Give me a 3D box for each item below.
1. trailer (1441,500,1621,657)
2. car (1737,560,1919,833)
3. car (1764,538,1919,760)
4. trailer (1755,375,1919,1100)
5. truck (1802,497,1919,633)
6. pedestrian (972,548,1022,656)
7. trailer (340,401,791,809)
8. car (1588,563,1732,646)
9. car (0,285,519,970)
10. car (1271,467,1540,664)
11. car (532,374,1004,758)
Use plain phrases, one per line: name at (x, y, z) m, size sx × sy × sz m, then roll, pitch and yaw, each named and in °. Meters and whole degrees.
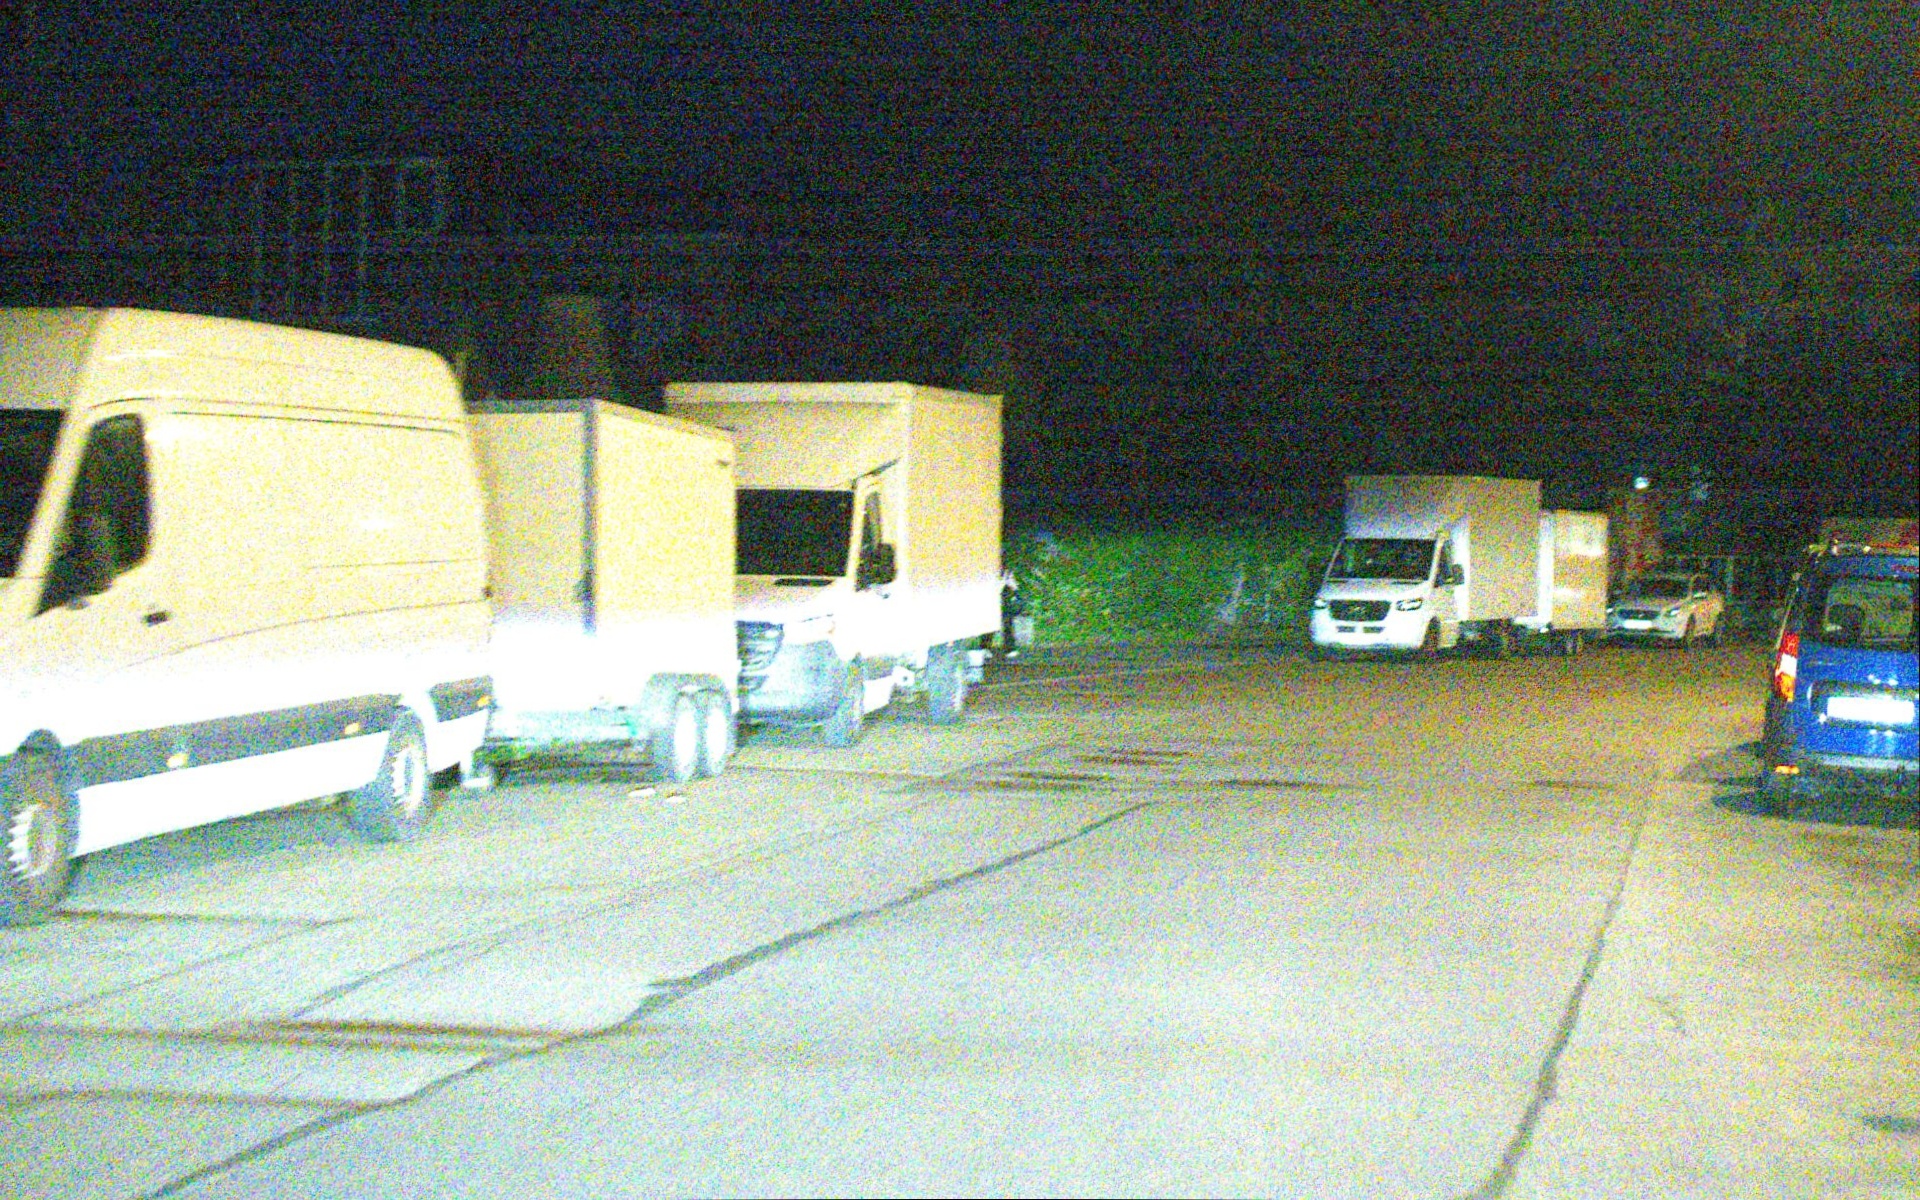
trailer at (10.821, -0.467, 64.901) m, size 1.996 × 2.803 × 4.696 m, roll 2°, pitch 2°, yaw 26°
car at (6.250, 0.598, 23.488) m, size 1.721 × 1.655 × 3.998 m, roll 3°, pitch 1°, yaw 12°
car at (8.175, 0.401, 30.811) m, size 1.721 × 1.814 × 3.998 m, roll 3°, pitch 1°, yaw 12°
trailer at (4.042, 0.433, 8.861) m, size 1.559 × 2.153 × 5.223 m, roll 0°, pitch 1°, yaw -16°
truck at (25.142, -0.977, 91.497) m, size 1.998 × 3.392 × 8.961 m, roll 4°, pitch 3°, yaw 35°
pedestrian at (0.578, 0.030, 53.634) m, size 0.675 × 1.647 × 0.653 m, roll 1°, pitch 3°, yaw -7°
trailer at (-2.559, -0.018, 23.199) m, size 1.994 × 2.519 × 3.566 m, roll 0°, pitch 2°, yaw 12°
car at (15.353, 0.094, 75.259) m, size 1.996 × 1.693 × 4.200 m, roll 3°, pitch 1°, yaw 27°
car at (-4.361, 0.036, 16.110) m, size 2.520 × 2.597 × 7.088 m, roll 0°, pitch 1°, yaw 10°
car at (7.753, -0.646, 59.002) m, size 2.522 × 3.160 × 7.128 m, roll 0°, pitch 1°, yaw 25°
car at (-1.439, -0.344, 29.901) m, size 2.520 × 2.917 × 7.198 m, roll 0°, pitch 1°, yaw 10°
